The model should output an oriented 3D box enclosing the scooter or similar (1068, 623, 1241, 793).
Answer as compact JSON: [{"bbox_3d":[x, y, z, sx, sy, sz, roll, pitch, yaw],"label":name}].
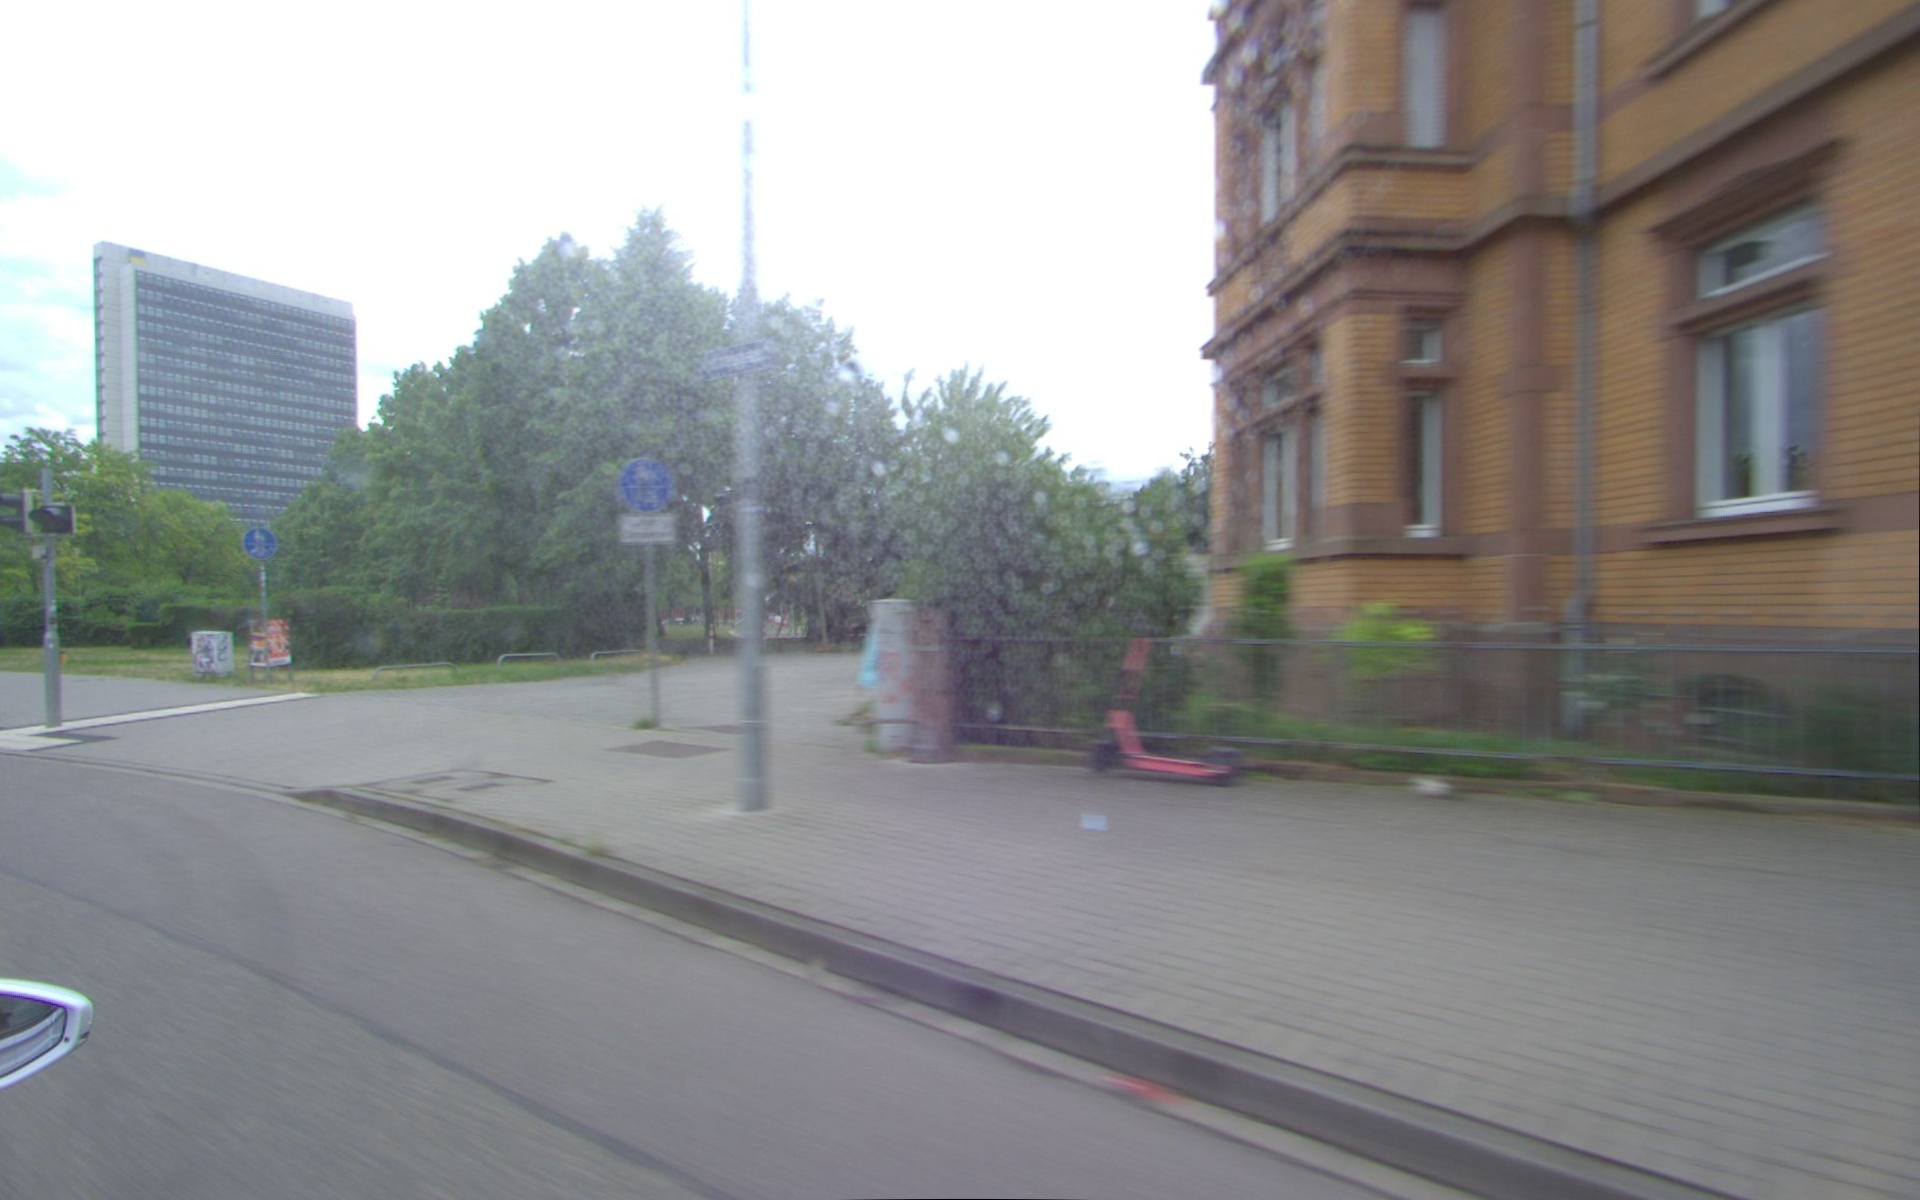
[{"bbox_3d":[1.411,0.753,7.290,1.179,1.156,0.376,0,1,24],"label":"scooter or similar"}]

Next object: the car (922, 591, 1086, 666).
[{"bbox_3d":[0.926,0.599,21.938,3.418,1.471,1.691,-2,1,-1],"label":"car"}]

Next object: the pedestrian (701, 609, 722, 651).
[{"bbox_3d":[-7.354,0.881,29.593,0.581,1.199,0.626,0,1,-15],"label":"pedestrian"}]

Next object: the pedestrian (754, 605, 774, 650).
[{"bbox_3d":[-6.027,0.829,30.782,0.581,1.376,0.625,0,1,-15],"label":"pedestrian"}]
